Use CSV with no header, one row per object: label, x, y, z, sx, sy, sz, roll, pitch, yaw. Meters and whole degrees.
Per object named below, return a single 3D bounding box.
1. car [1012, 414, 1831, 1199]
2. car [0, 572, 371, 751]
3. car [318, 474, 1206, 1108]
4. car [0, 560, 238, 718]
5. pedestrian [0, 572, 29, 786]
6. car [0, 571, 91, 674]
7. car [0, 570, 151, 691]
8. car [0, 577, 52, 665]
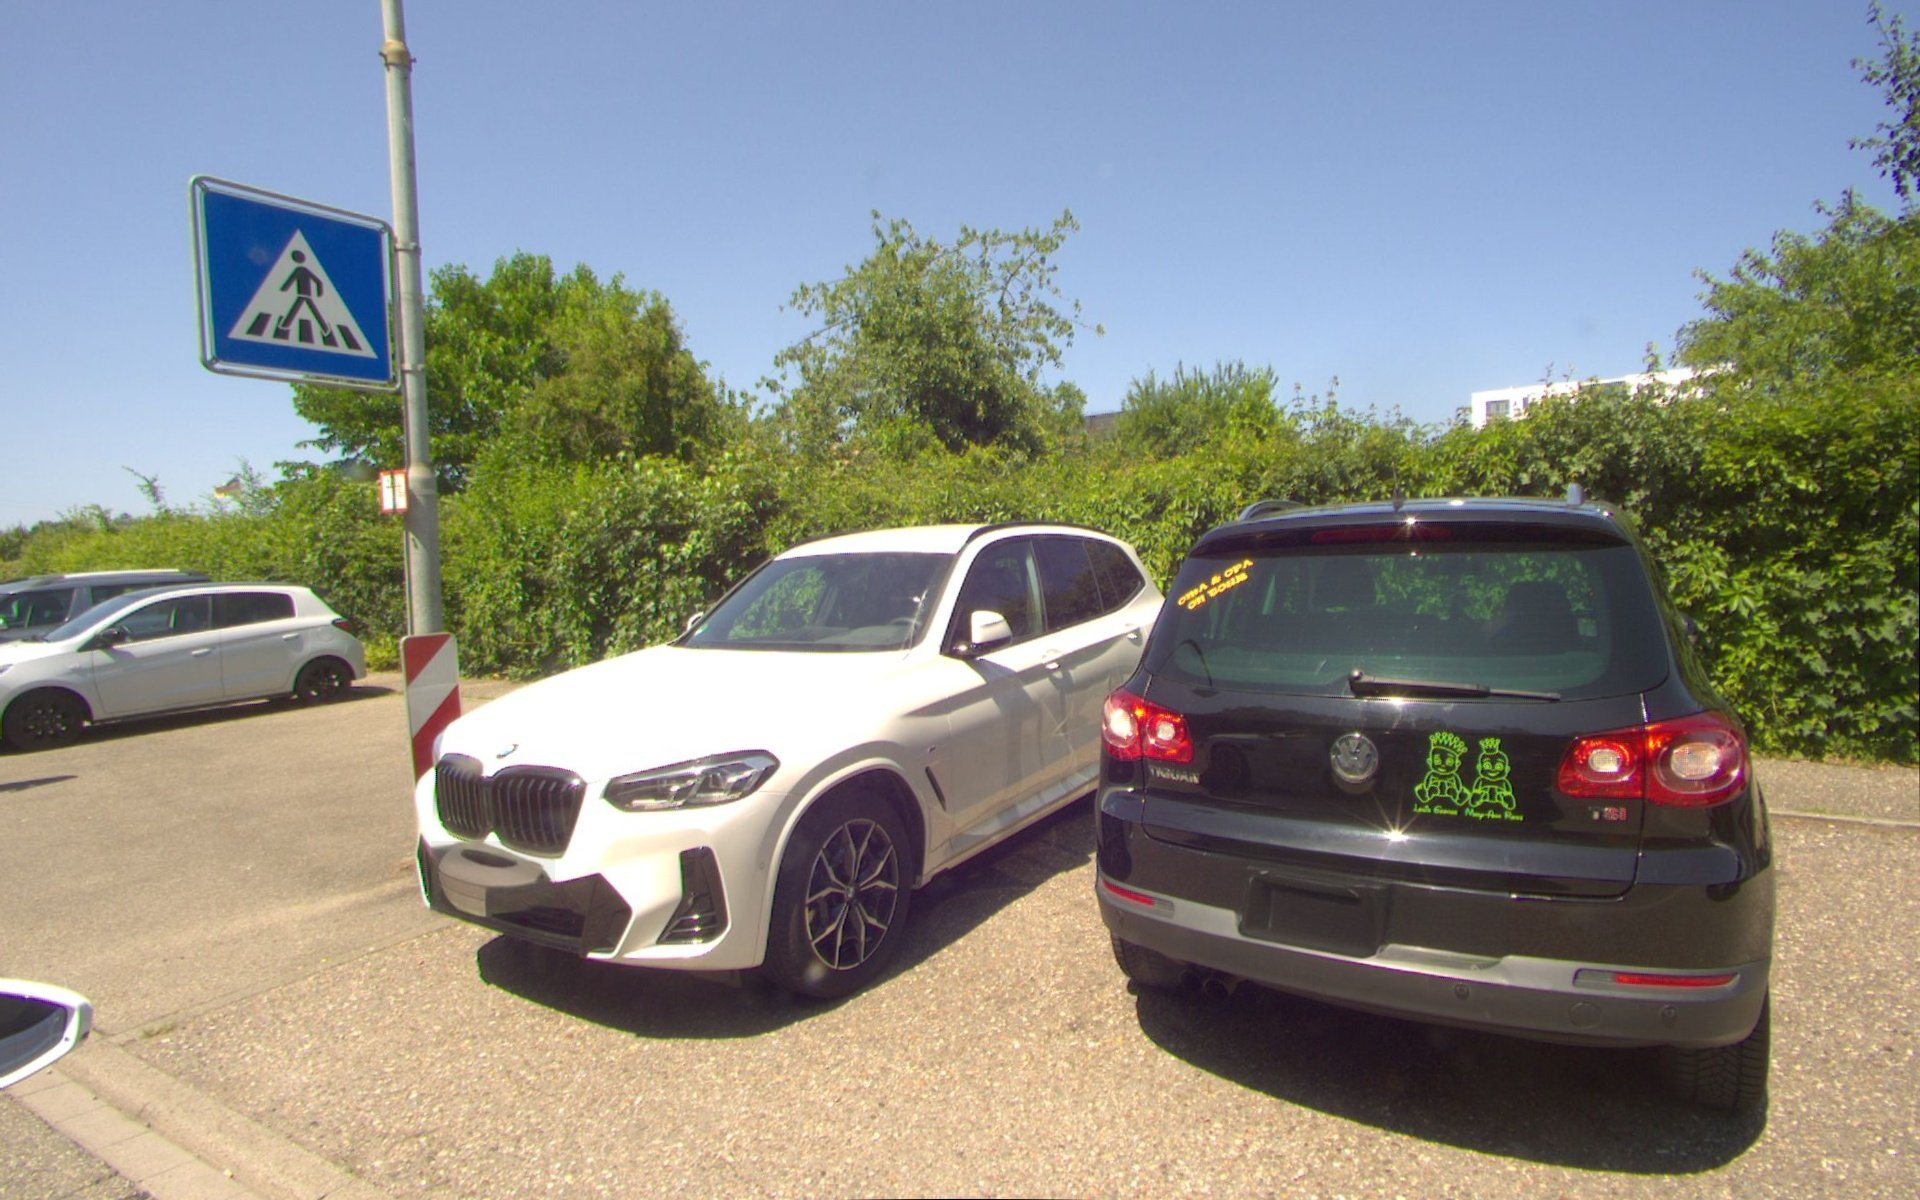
car,1.933,0.400,4.060,1.741,1.709,3.962,0,3,32
car,-8.788,0.540,10.922,1.588,1.472,3.673,1,6,36
car,-0.385,0.423,5.109,1.825,1.753,4.440,0,3,33
car,-11.402,0.459,12.086,1.637,1.664,3.953,0,5,27
pedestrian,-7.743,0.636,7.476,0.768,1.634,0.892,-5,5,-26
car,-16.173,0.460,15.240,1.835,1.545,3.955,0,5,27
car,-13.693,0.464,13.873,1.515,1.549,3.445,0,5,28
car,-18.285,0.434,17.424,1.566,1.525,3.374,2,4,36
